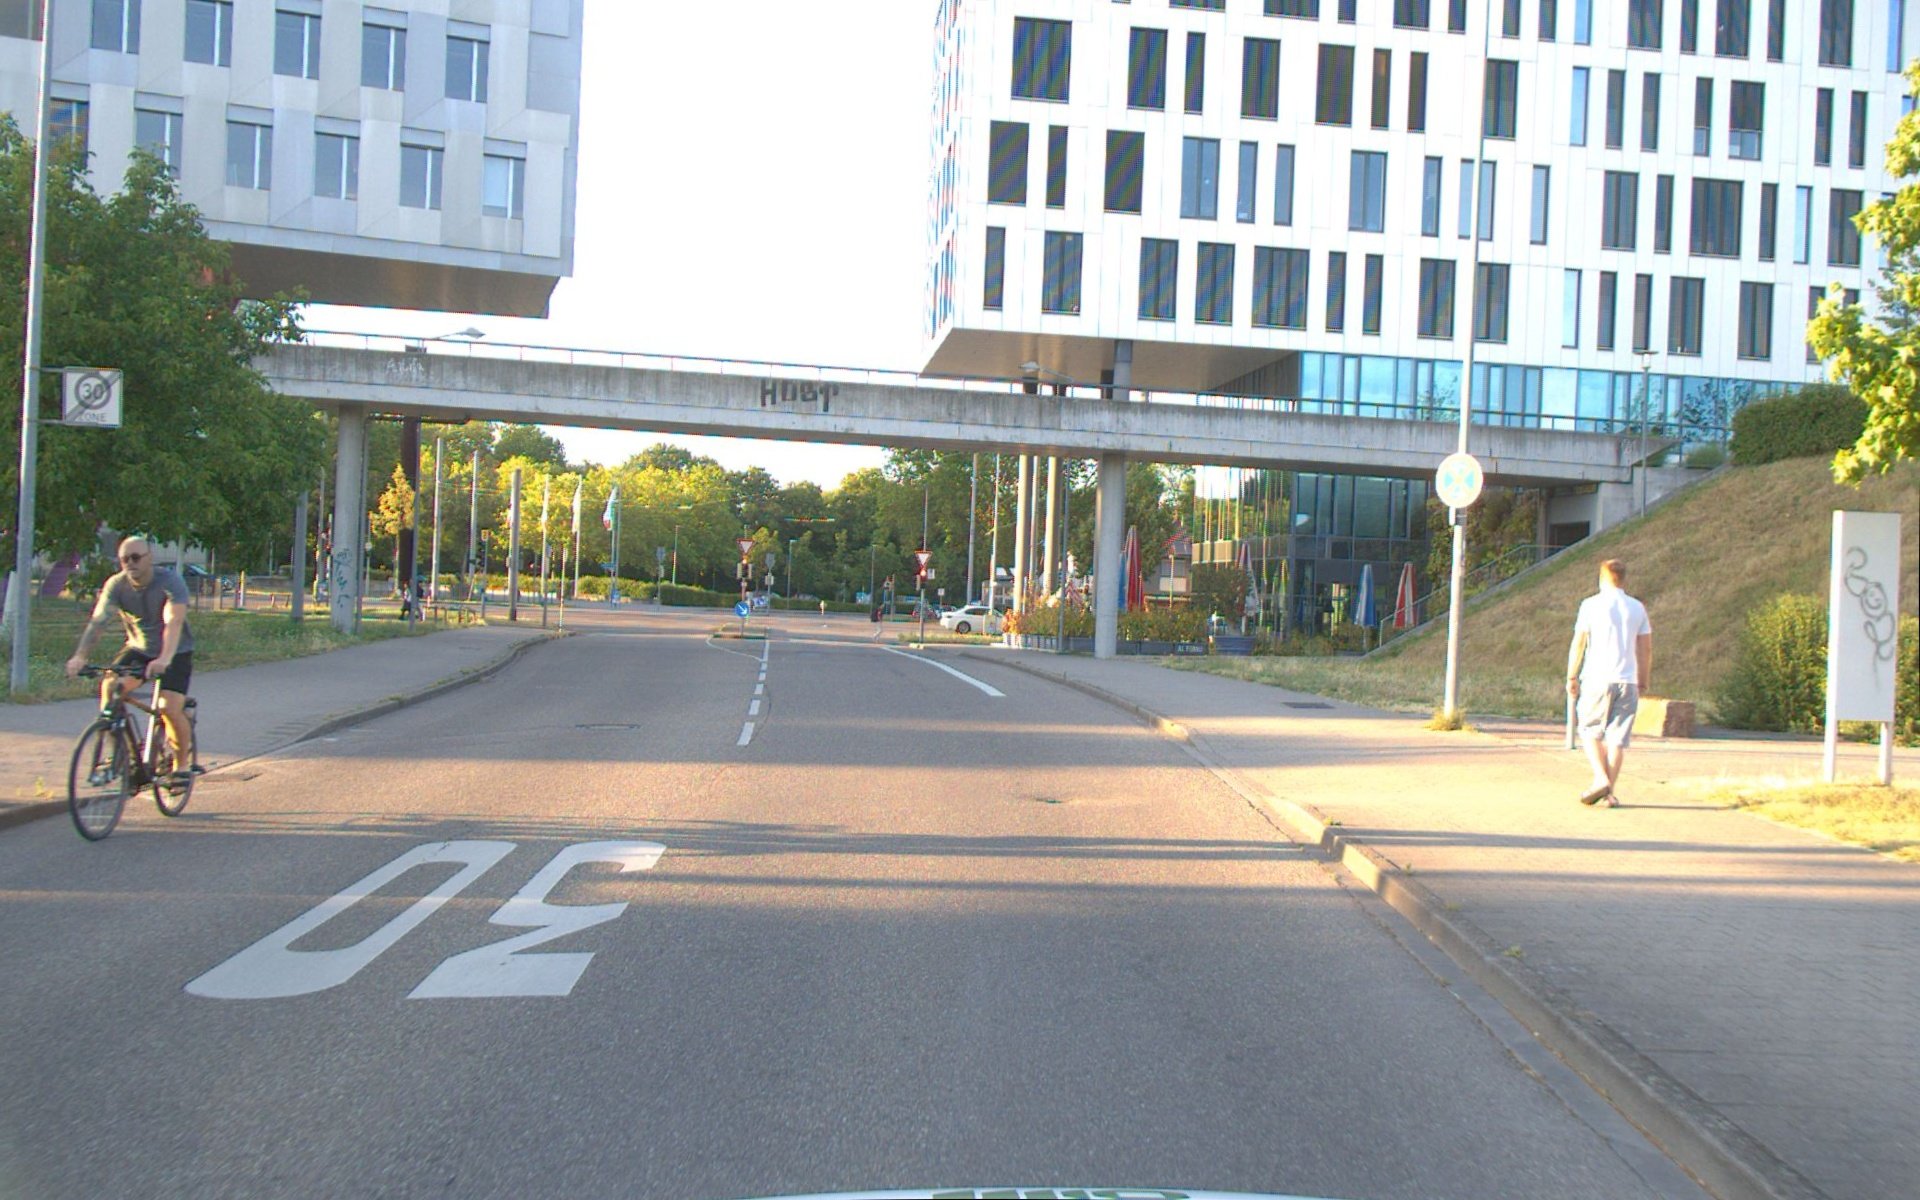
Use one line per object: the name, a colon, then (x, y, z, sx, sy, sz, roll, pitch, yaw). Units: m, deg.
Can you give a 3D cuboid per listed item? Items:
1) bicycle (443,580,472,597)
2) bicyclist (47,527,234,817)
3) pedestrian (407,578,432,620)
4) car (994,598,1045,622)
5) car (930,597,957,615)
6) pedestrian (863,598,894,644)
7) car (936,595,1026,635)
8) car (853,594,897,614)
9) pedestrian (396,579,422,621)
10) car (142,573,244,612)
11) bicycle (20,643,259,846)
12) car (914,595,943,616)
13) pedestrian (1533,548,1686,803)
bicycle: (-36.096, -0.824, 118.831, 1.943, 1.148, 0.554, 2, 1, -32)
bicyclist: (-5.081, 0.420, 10.310, 0.602, 1.691, 1.036, 2, 1, -1)
pedestrian: (-22.196, -0.027, 67.937, 0.685, 1.693, 0.712, 2, 0, 11)
car: (5.266, 0.892, 147.243, 4.376, 1.848, 1.945, 2, 1, -1)
car: (-1.559, 0.529, 156.962, 1.466, 1.634, 3.403, 3, 1, 20)
pedestrian: (-3.437, 0.898, 69.790, 1.038, 1.866, 0.890, 2, 0, -19)
car: (1.097, 0.790, 87.753, 4.596, 1.860, 1.833, 2, 1, -5)
car: (-9.181, 0.454, 179.629, 4.588, 1.901, 2.013, 2, 1, 0)
pedestrian: (-22.371, -0.007, 67.124, 0.671, 1.652, 0.712, 2, 0, 11)
car: (-40.095, -0.414, 86.523, 4.383, 1.848, 1.942, 2, 1, -8)
bicycle: (-5.094, 0.851, 10.410, 0.527, 1.061, 1.925, 2, 1, -1)
car: (-2.875, 0.497, 153.109, 1.466, 1.791, 3.403, 3, 1, 20)
pedestrian: (4.755, 0.539, 12.150, 0.814, 1.797, 0.818, 1, -1, 1)
